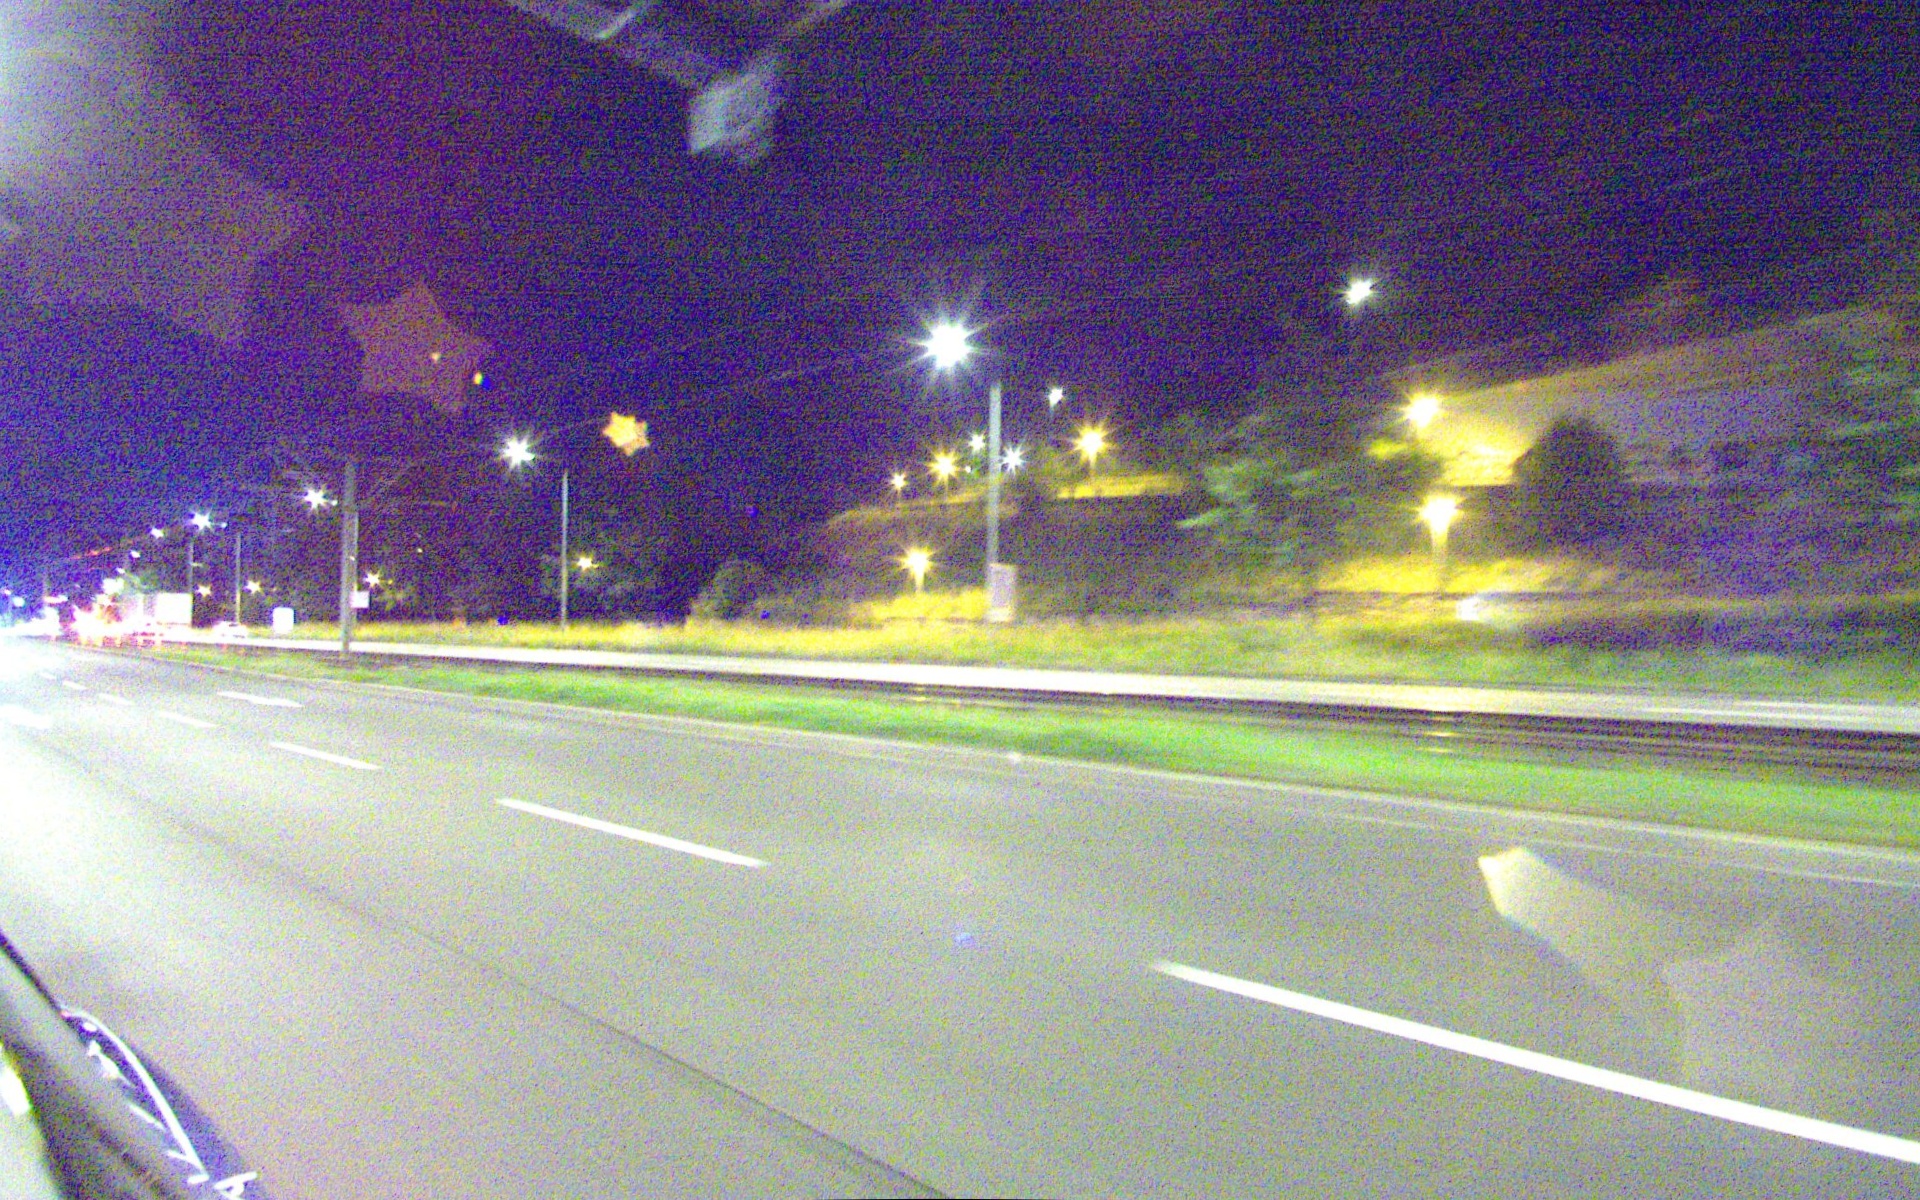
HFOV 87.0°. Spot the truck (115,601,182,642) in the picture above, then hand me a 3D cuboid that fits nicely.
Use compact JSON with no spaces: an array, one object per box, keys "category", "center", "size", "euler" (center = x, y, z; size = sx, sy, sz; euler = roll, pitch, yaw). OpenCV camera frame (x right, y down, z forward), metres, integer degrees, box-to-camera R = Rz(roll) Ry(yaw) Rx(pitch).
[{"category":"truck","center":[-82.404,2.132,102.631],"size":[10.419,3.984,3.642],"euler":[-1,0,42]}]

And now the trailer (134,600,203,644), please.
[{"category":"trailer","center":[-75.337,2.039,96.284],"size":[8.392,4.019,3.657],"euler":[-1,0,42]}]

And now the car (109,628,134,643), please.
[{"category":"car","center":[-96.696,4.071,116.677],"size":[3.962,1.637,1.706],"euler":[-1,0,44]}]

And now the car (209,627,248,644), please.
[{"category":"car","center":[-66.342,3.231,91.756],"size":[4.202,1.492,1.965],"euler":[-1,-3,42]}]

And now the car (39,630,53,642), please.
[{"category":"car","center":[-158.692,6.227,175.773],"size":[1.769,1.921,4.005],"euler":[-1,0,-42]}]

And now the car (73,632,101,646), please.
[{"category":"car","center":[-97.131,4.336,112.587],"size":[4.082,1.510,1.786],"euler":[-1,-1,40]}]
